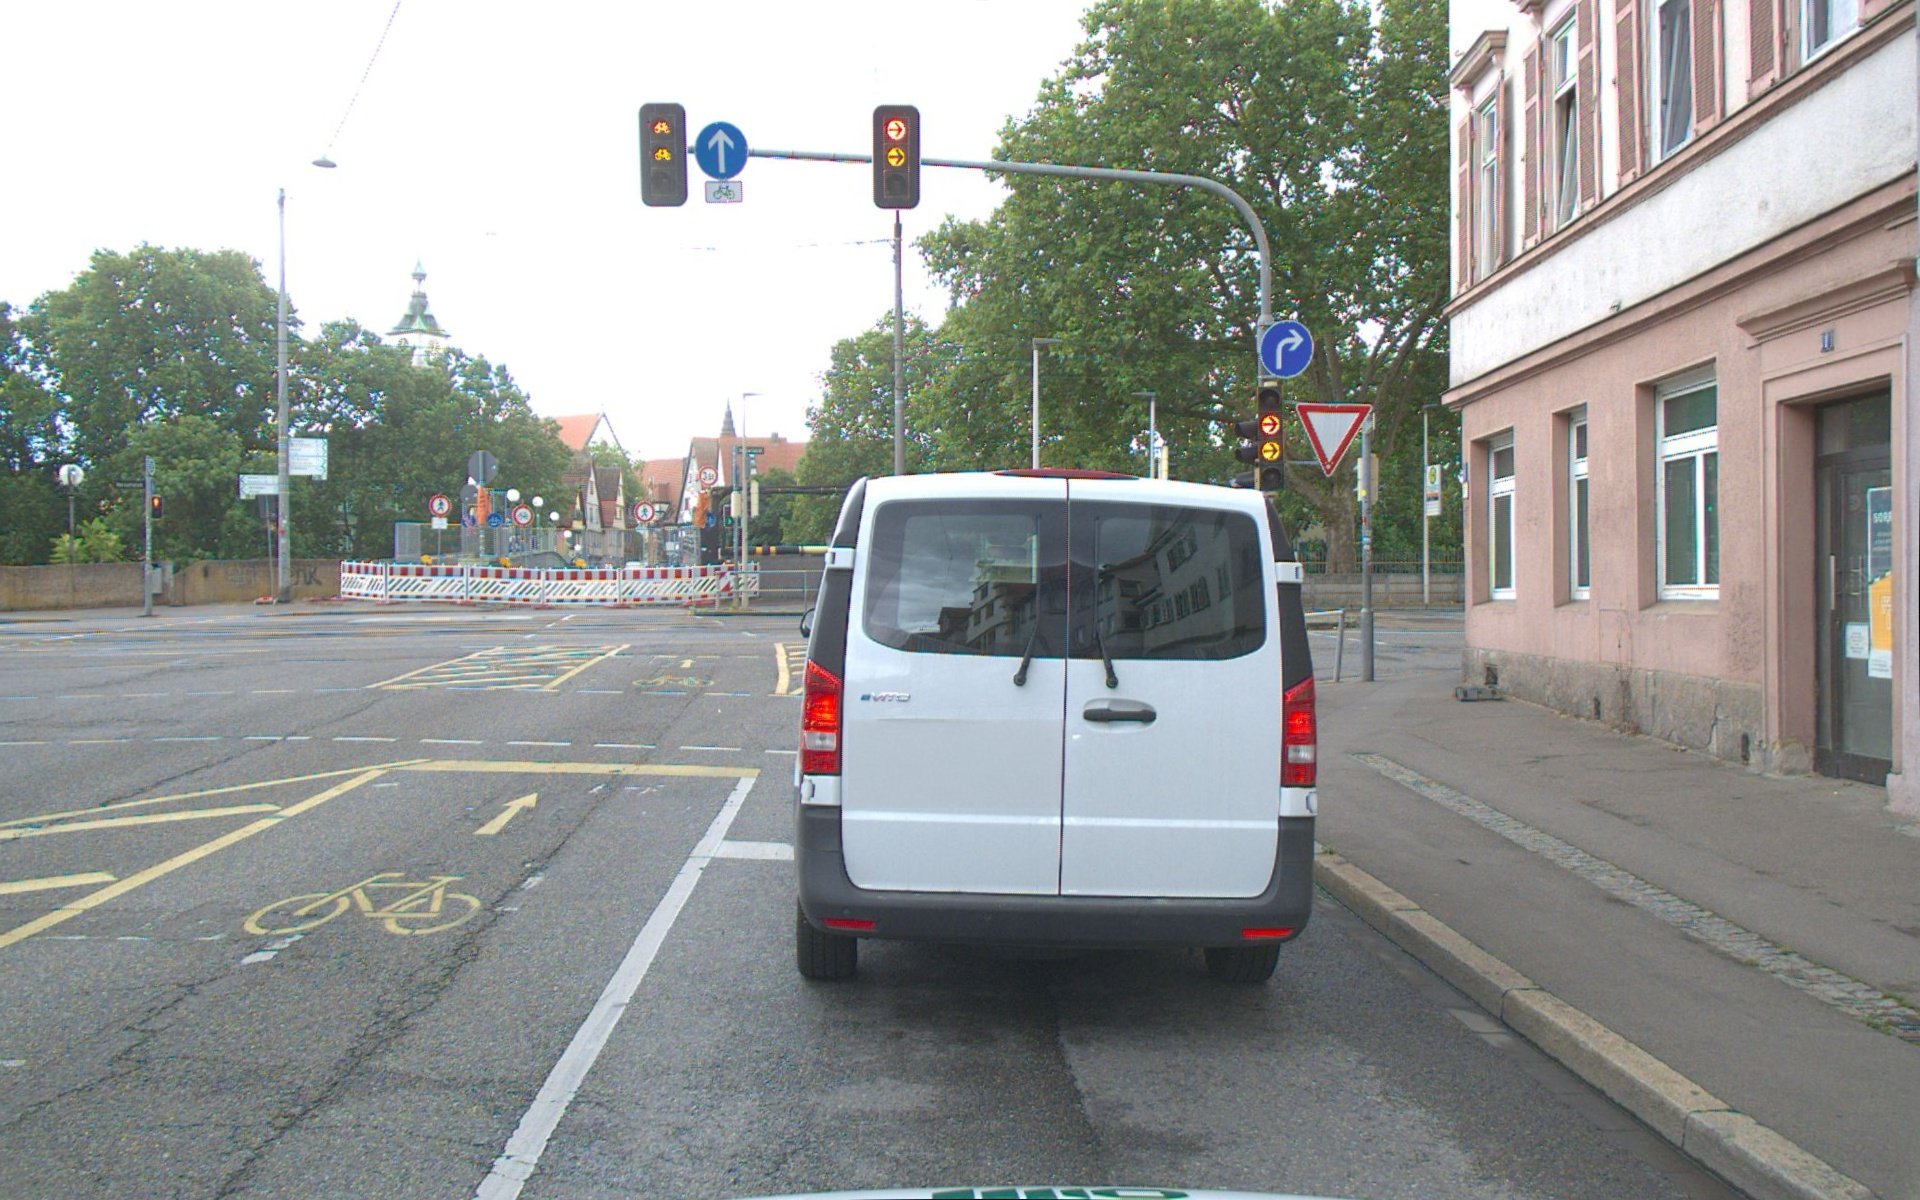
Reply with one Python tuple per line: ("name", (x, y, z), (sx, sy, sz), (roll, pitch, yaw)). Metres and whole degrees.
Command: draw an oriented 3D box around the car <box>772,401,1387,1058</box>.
("car", (0.346, 0.351, 7.575), (1.911, 2.048, 4.698), (1, 2, -1))
